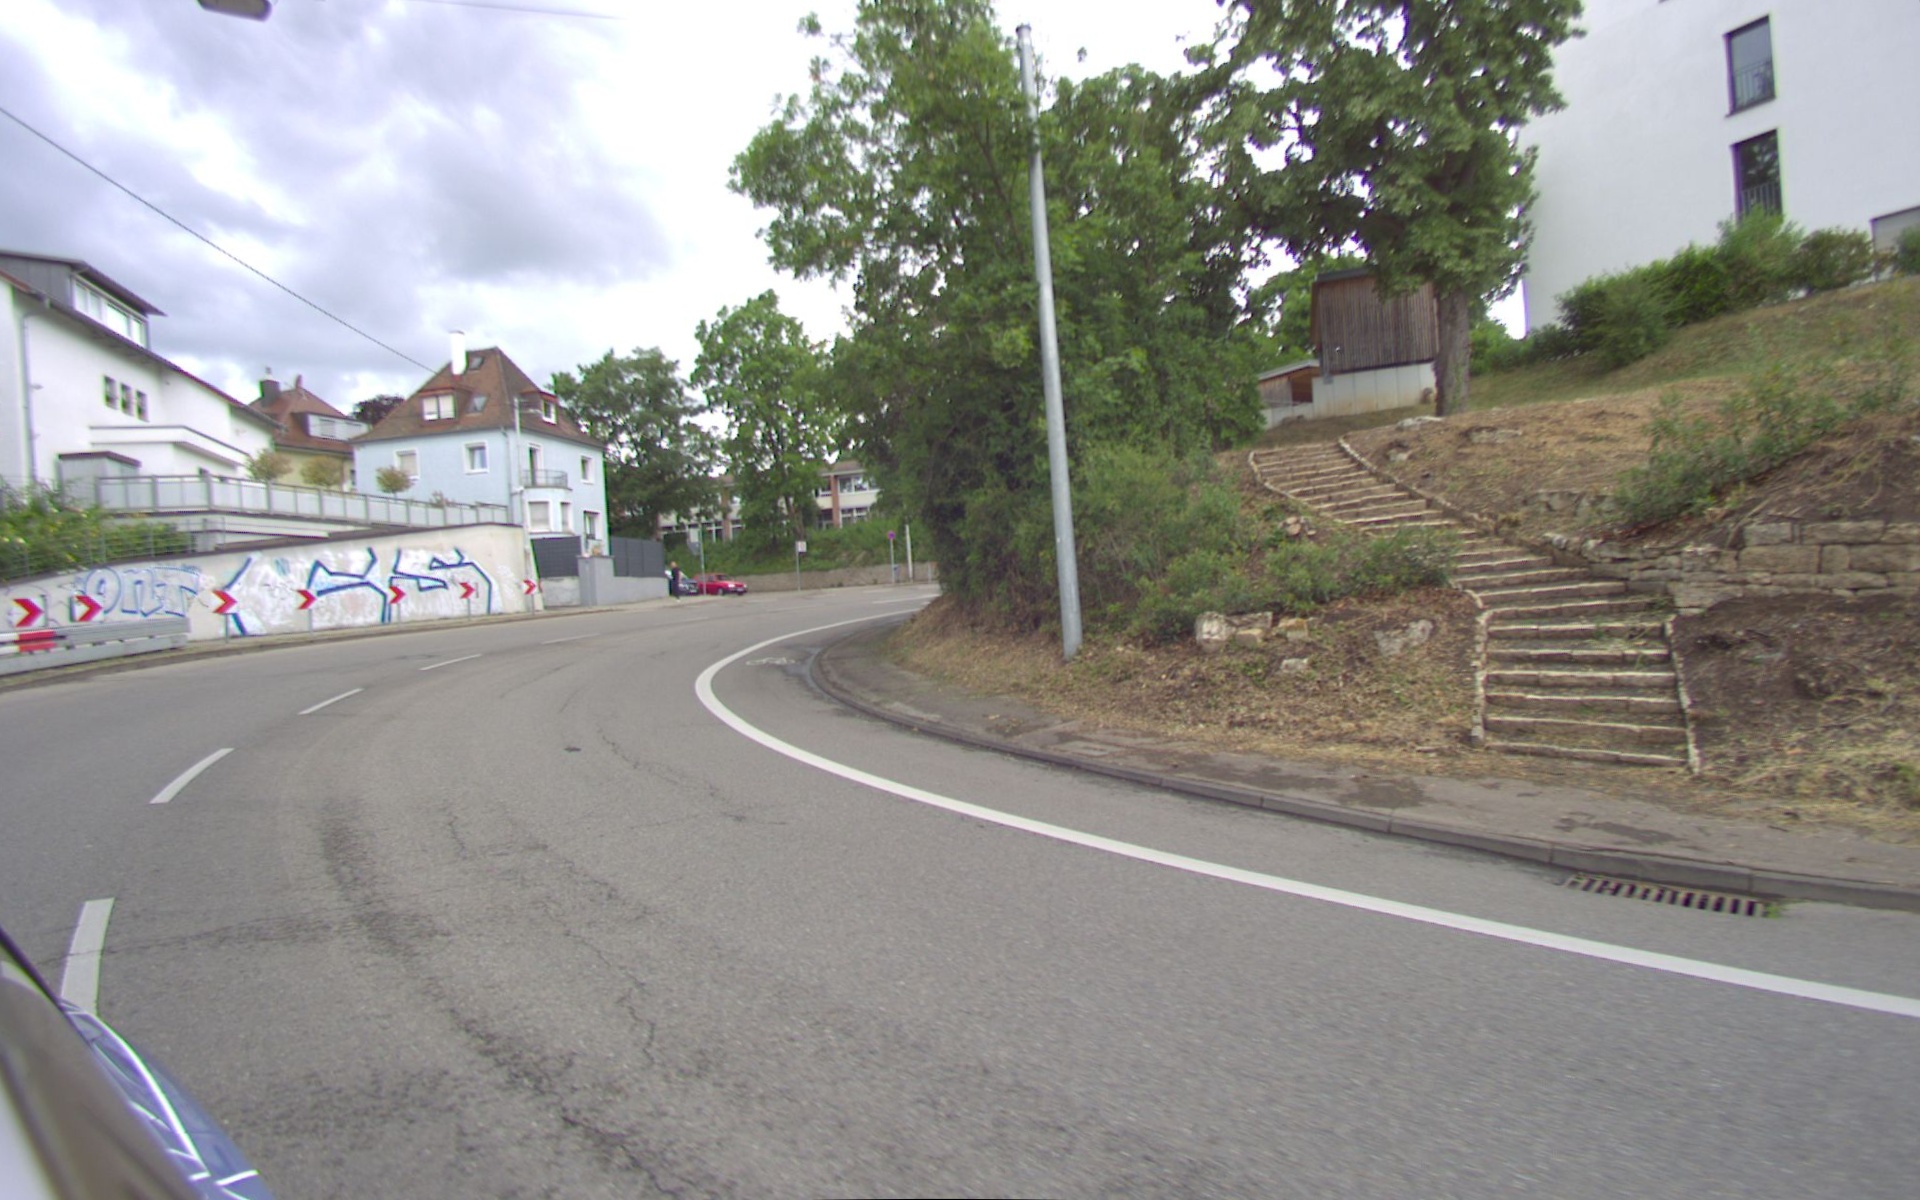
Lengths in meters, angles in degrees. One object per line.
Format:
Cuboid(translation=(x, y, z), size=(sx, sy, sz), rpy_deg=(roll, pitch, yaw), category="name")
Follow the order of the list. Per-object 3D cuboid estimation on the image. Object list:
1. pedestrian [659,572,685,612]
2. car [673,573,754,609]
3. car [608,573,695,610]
Cuboid(translation=(-13.404, -0.373, 47.152), size=(0.968, 1.842, 0.576), rpy_deg=(-3, 1, -35), category="pedestrian")
Cuboid(translation=(-14.929, -0.556, 61.206), size=(4.826, 1.878, 1.929), rpy_deg=(-3, 0, 34), category="car")
Cuboid(translation=(-18.033, -0.463, 59.101), size=(4.817, 1.878, 1.933), rpy_deg=(-3, 0, 28), category="car")
